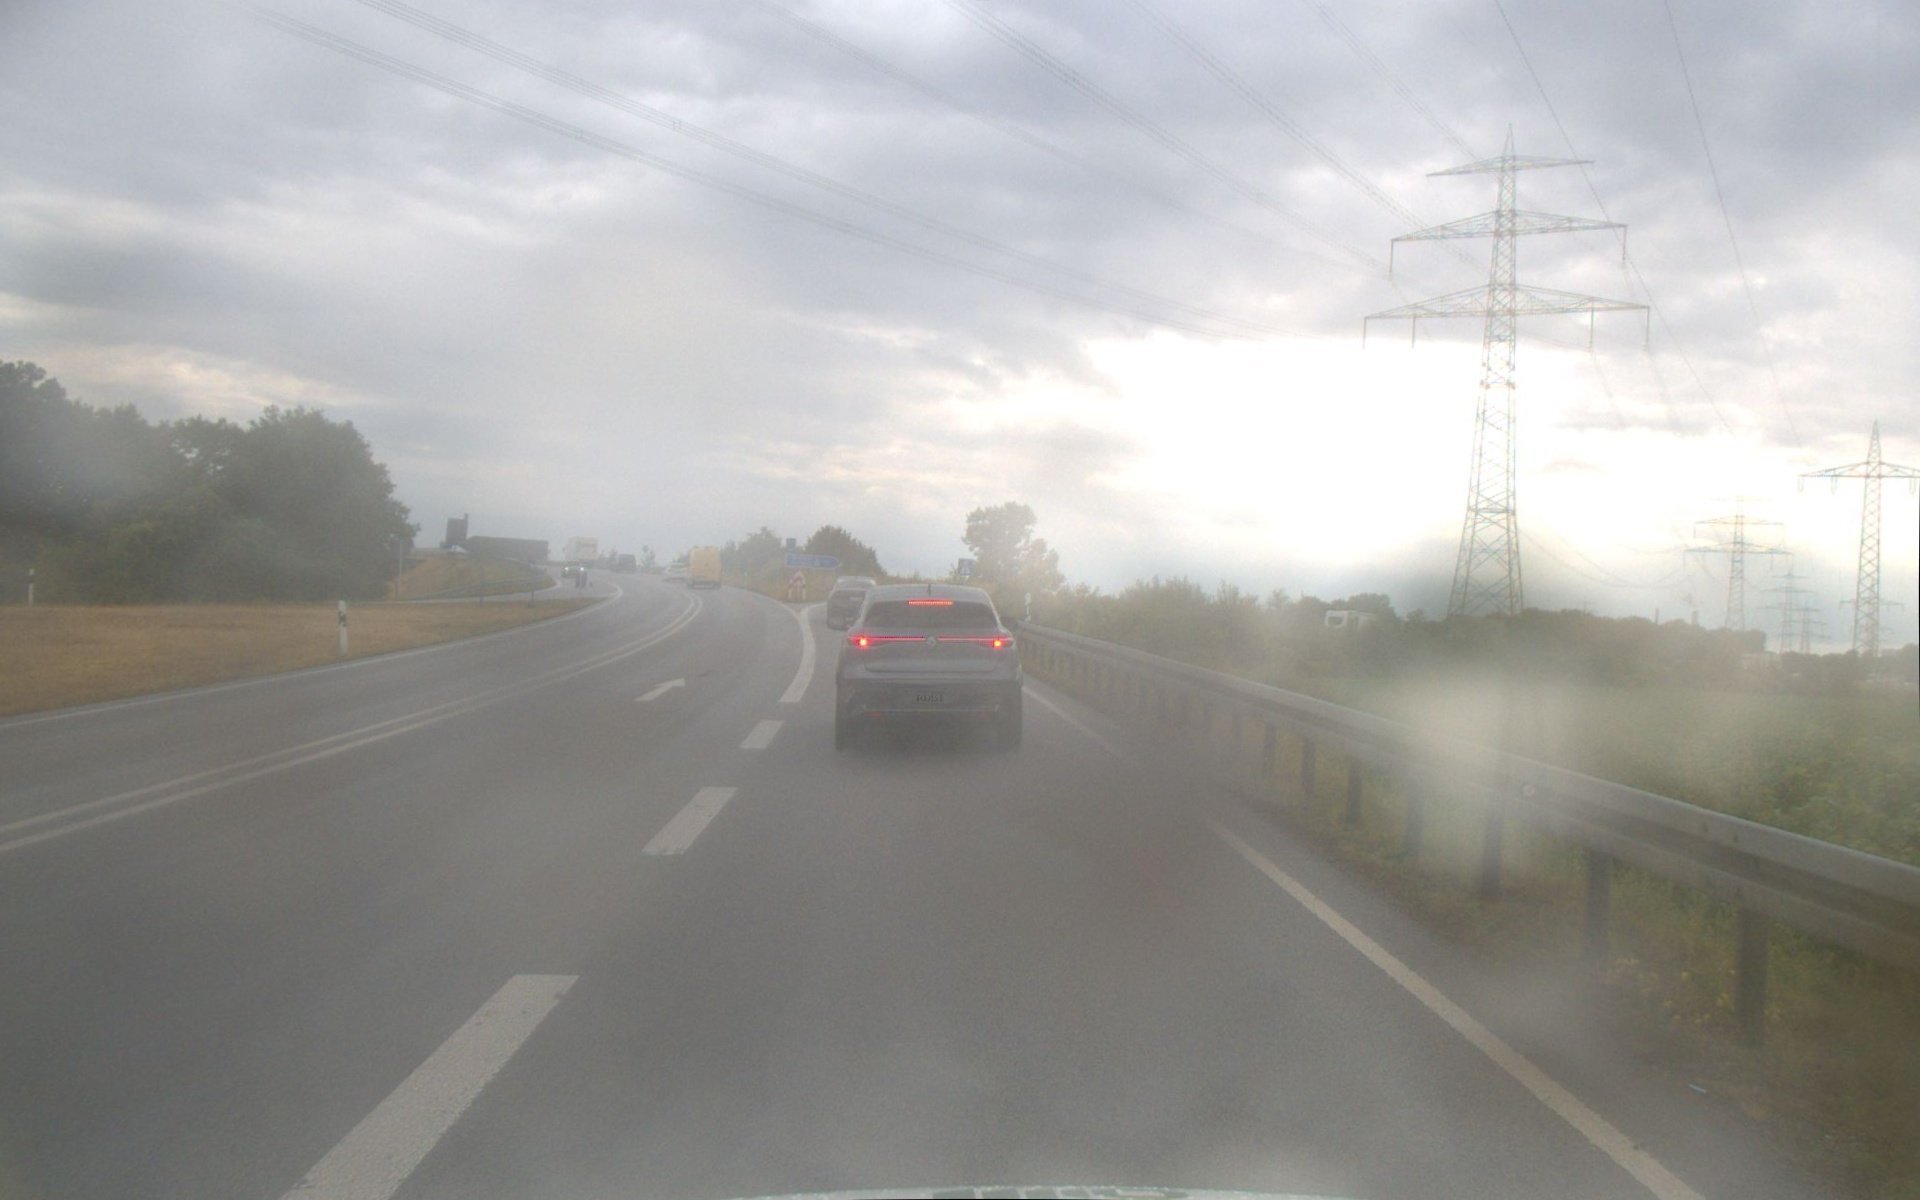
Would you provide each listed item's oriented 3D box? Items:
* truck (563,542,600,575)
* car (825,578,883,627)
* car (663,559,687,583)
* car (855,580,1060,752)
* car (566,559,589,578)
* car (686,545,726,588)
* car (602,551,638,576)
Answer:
[{"bbox_3d":[-44.371,-4.848,193.979,3.003,3.444,7.592,2,-1,-22],"label":"truck"},{"bbox_3d":[-3.489,0.102,54.802,1.756,1.466,3.997,4,-1,-3],"label":"car"},{"bbox_3d":[-22.241,-2.239,128.870,1.759,1.717,3.990,2,-1,-10],"label":"car"},{"bbox_3d":[-0.113,0.586,16.342,1.756,1.466,3.998,1,0,-3],"label":"car"},{"bbox_3d":[-31.952,-2.585,137.993,1.715,1.389,4.034,-2,0,-15],"label":"car"},{"bbox_3d":[-16.945,-2.276,110.015,2.526,2.772,7.180,0,2,-10],"label":"car"},{"bbox_3d":[-34.521,-3.662,167.884,2.566,2.290,5.497,2,-1,-22],"label":"car"}]
